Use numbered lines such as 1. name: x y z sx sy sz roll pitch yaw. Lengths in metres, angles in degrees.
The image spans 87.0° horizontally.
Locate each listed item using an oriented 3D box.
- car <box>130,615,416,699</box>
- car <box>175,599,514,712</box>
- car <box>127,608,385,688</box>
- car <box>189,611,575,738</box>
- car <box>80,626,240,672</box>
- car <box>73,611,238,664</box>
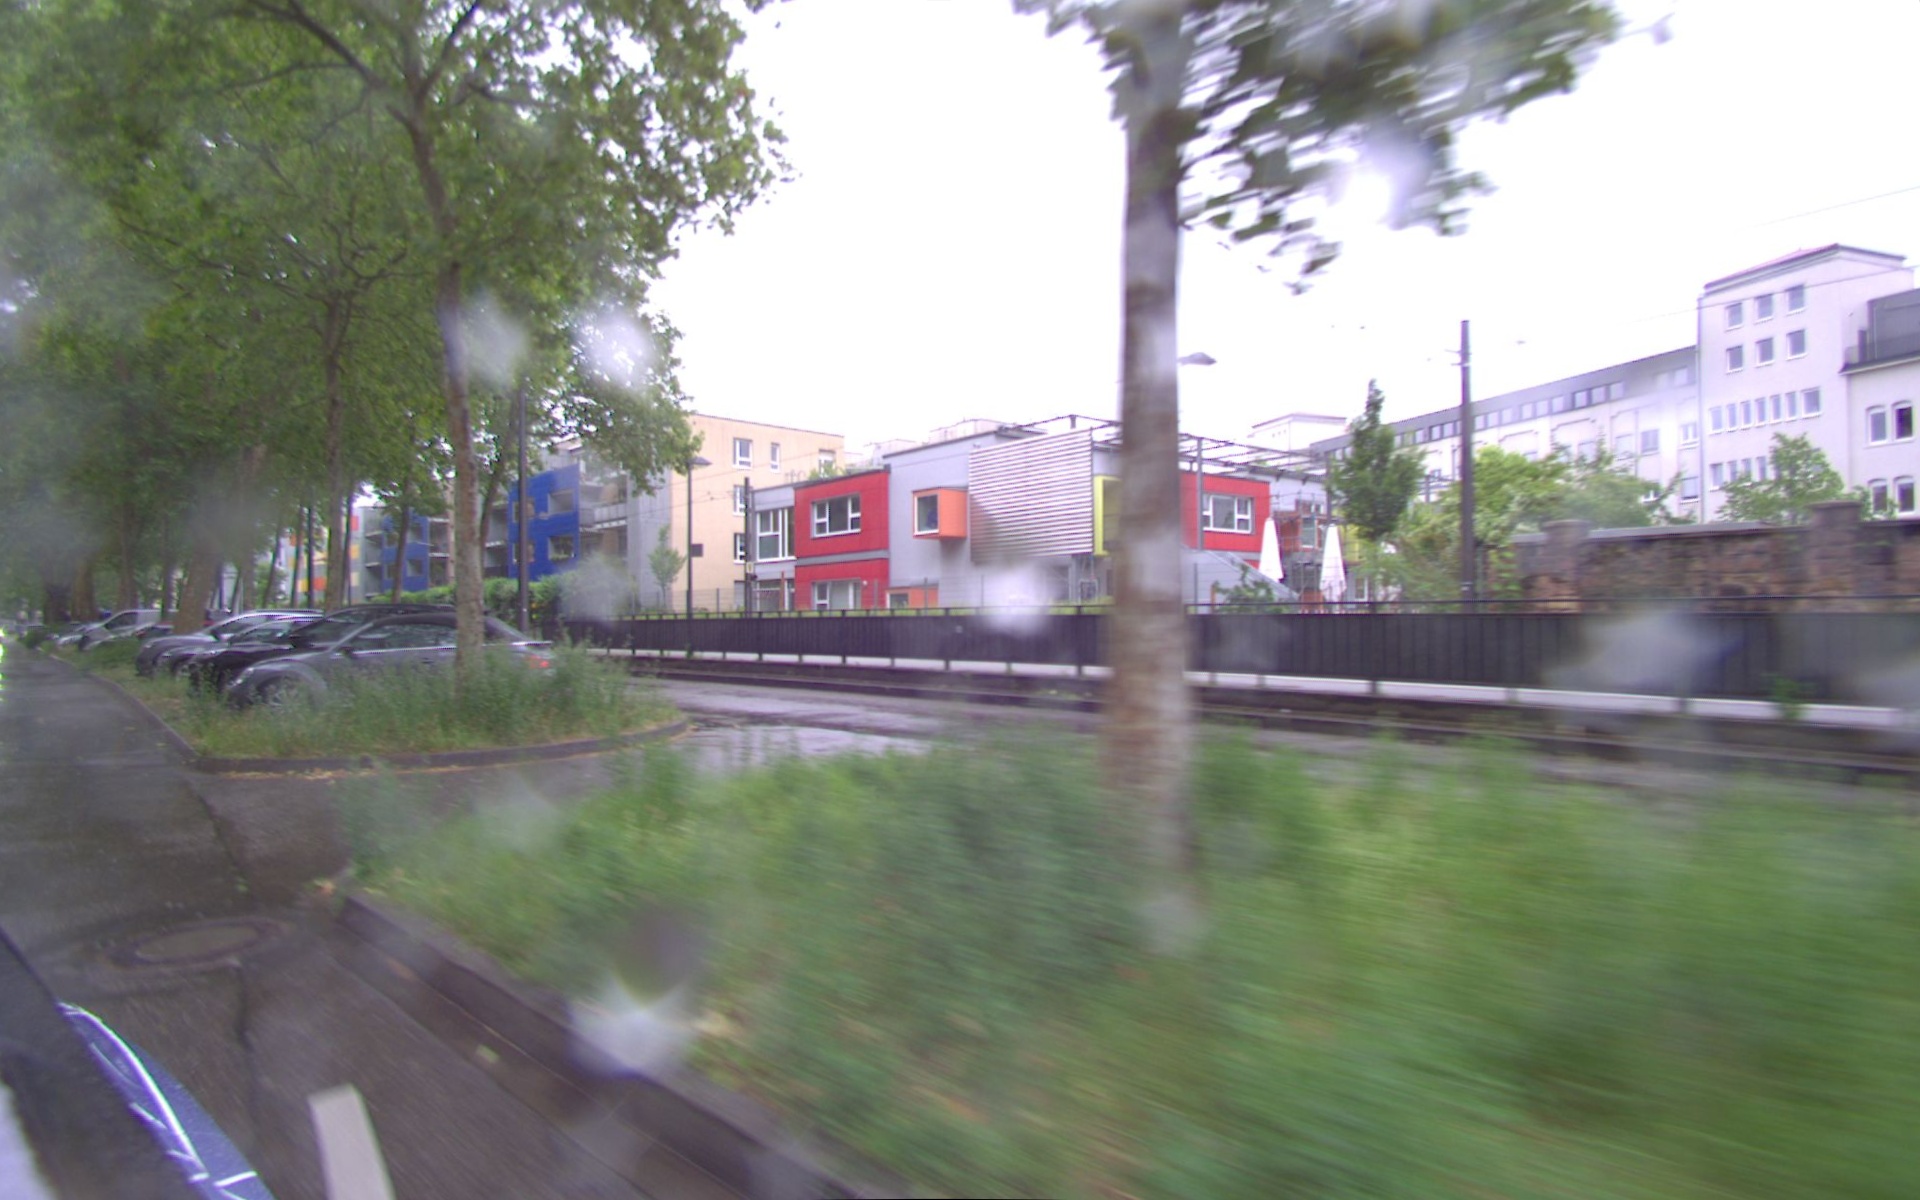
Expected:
1. car: -13.303 1.112 19.871 4.262 1.519 1.752 1 -2 -11
2. car: -9.392 0.865 15.820 4.160 1.622 1.753 1 -2 -13
3. car: -15.167 1.063 22.084 4.259 1.625 1.754 2 -2 -18
4. car: -7.607 0.990 13.797 4.160 1.553 1.936 1 -2 -13
5. car: -27.330 1.676 34.721 3.930 1.497 1.665 2 -2 -21
6. car: -32.542 1.525 41.091 4.811 2.029 2.005 1 -2 -13
